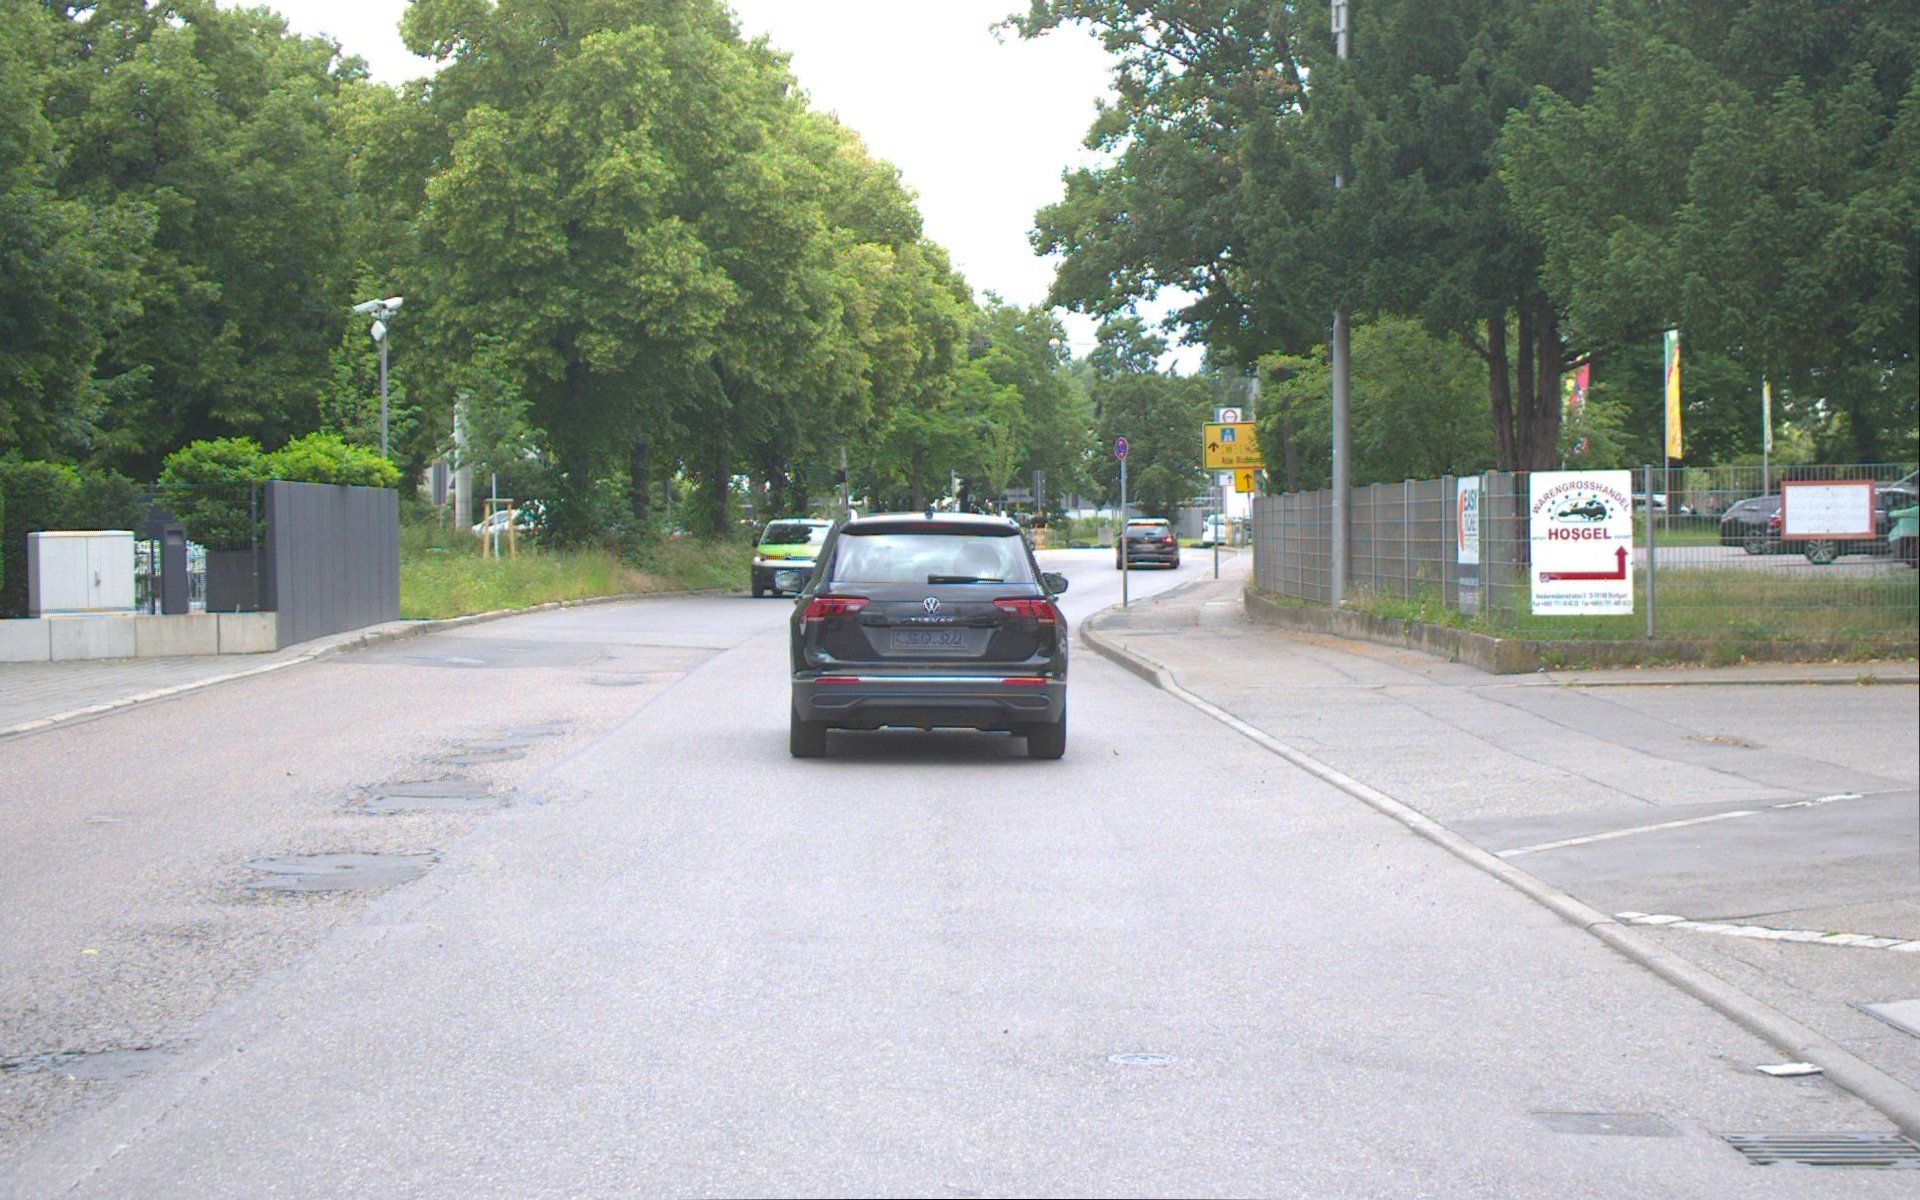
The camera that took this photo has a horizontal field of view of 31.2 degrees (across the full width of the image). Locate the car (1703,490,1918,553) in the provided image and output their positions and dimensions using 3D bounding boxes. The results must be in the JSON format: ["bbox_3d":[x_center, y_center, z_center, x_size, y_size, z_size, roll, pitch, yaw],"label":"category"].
[{"bbox_3d":[21.369,-1.969,86.465,4.855,1.529,2.019,0,2,36],"label":"car"}]

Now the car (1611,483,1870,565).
[{"bbox_3d":[15.476,-1.503,68.327,1.994,1.469,4.691,-2,1,-42],"label":"car"}]

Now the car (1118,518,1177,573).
[{"bbox_3d":[5.532,-1.626,101.828,1.659,1.569,3.828,-1,1,2],"label":"car"}]

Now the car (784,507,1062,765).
[{"bbox_3d":[-0.200,0.201,23.320,1.739,1.612,3.641,0,1,1],"label":"car"}]

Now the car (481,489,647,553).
[{"bbox_3d":[-15.287,-3.059,132.964,6.070,2.379,2.395,-1,2,2],"label":"car"}]

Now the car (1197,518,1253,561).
[{"bbox_3d":[11.066,-2.533,143.544,1.994,1.780,3.999,0,1,9],"label":"car"}]

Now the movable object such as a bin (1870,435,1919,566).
[{"bbox_3d":[18.359,-1.813,61.299,3.989,2.297,1.951,-1,1,12],"label":"movable object such as a bin"}]

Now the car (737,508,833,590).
[{"bbox_3d":[-3.898,-1.153,77.030,1.808,1.758,4.206,1,1,2],"label":"car"}]
